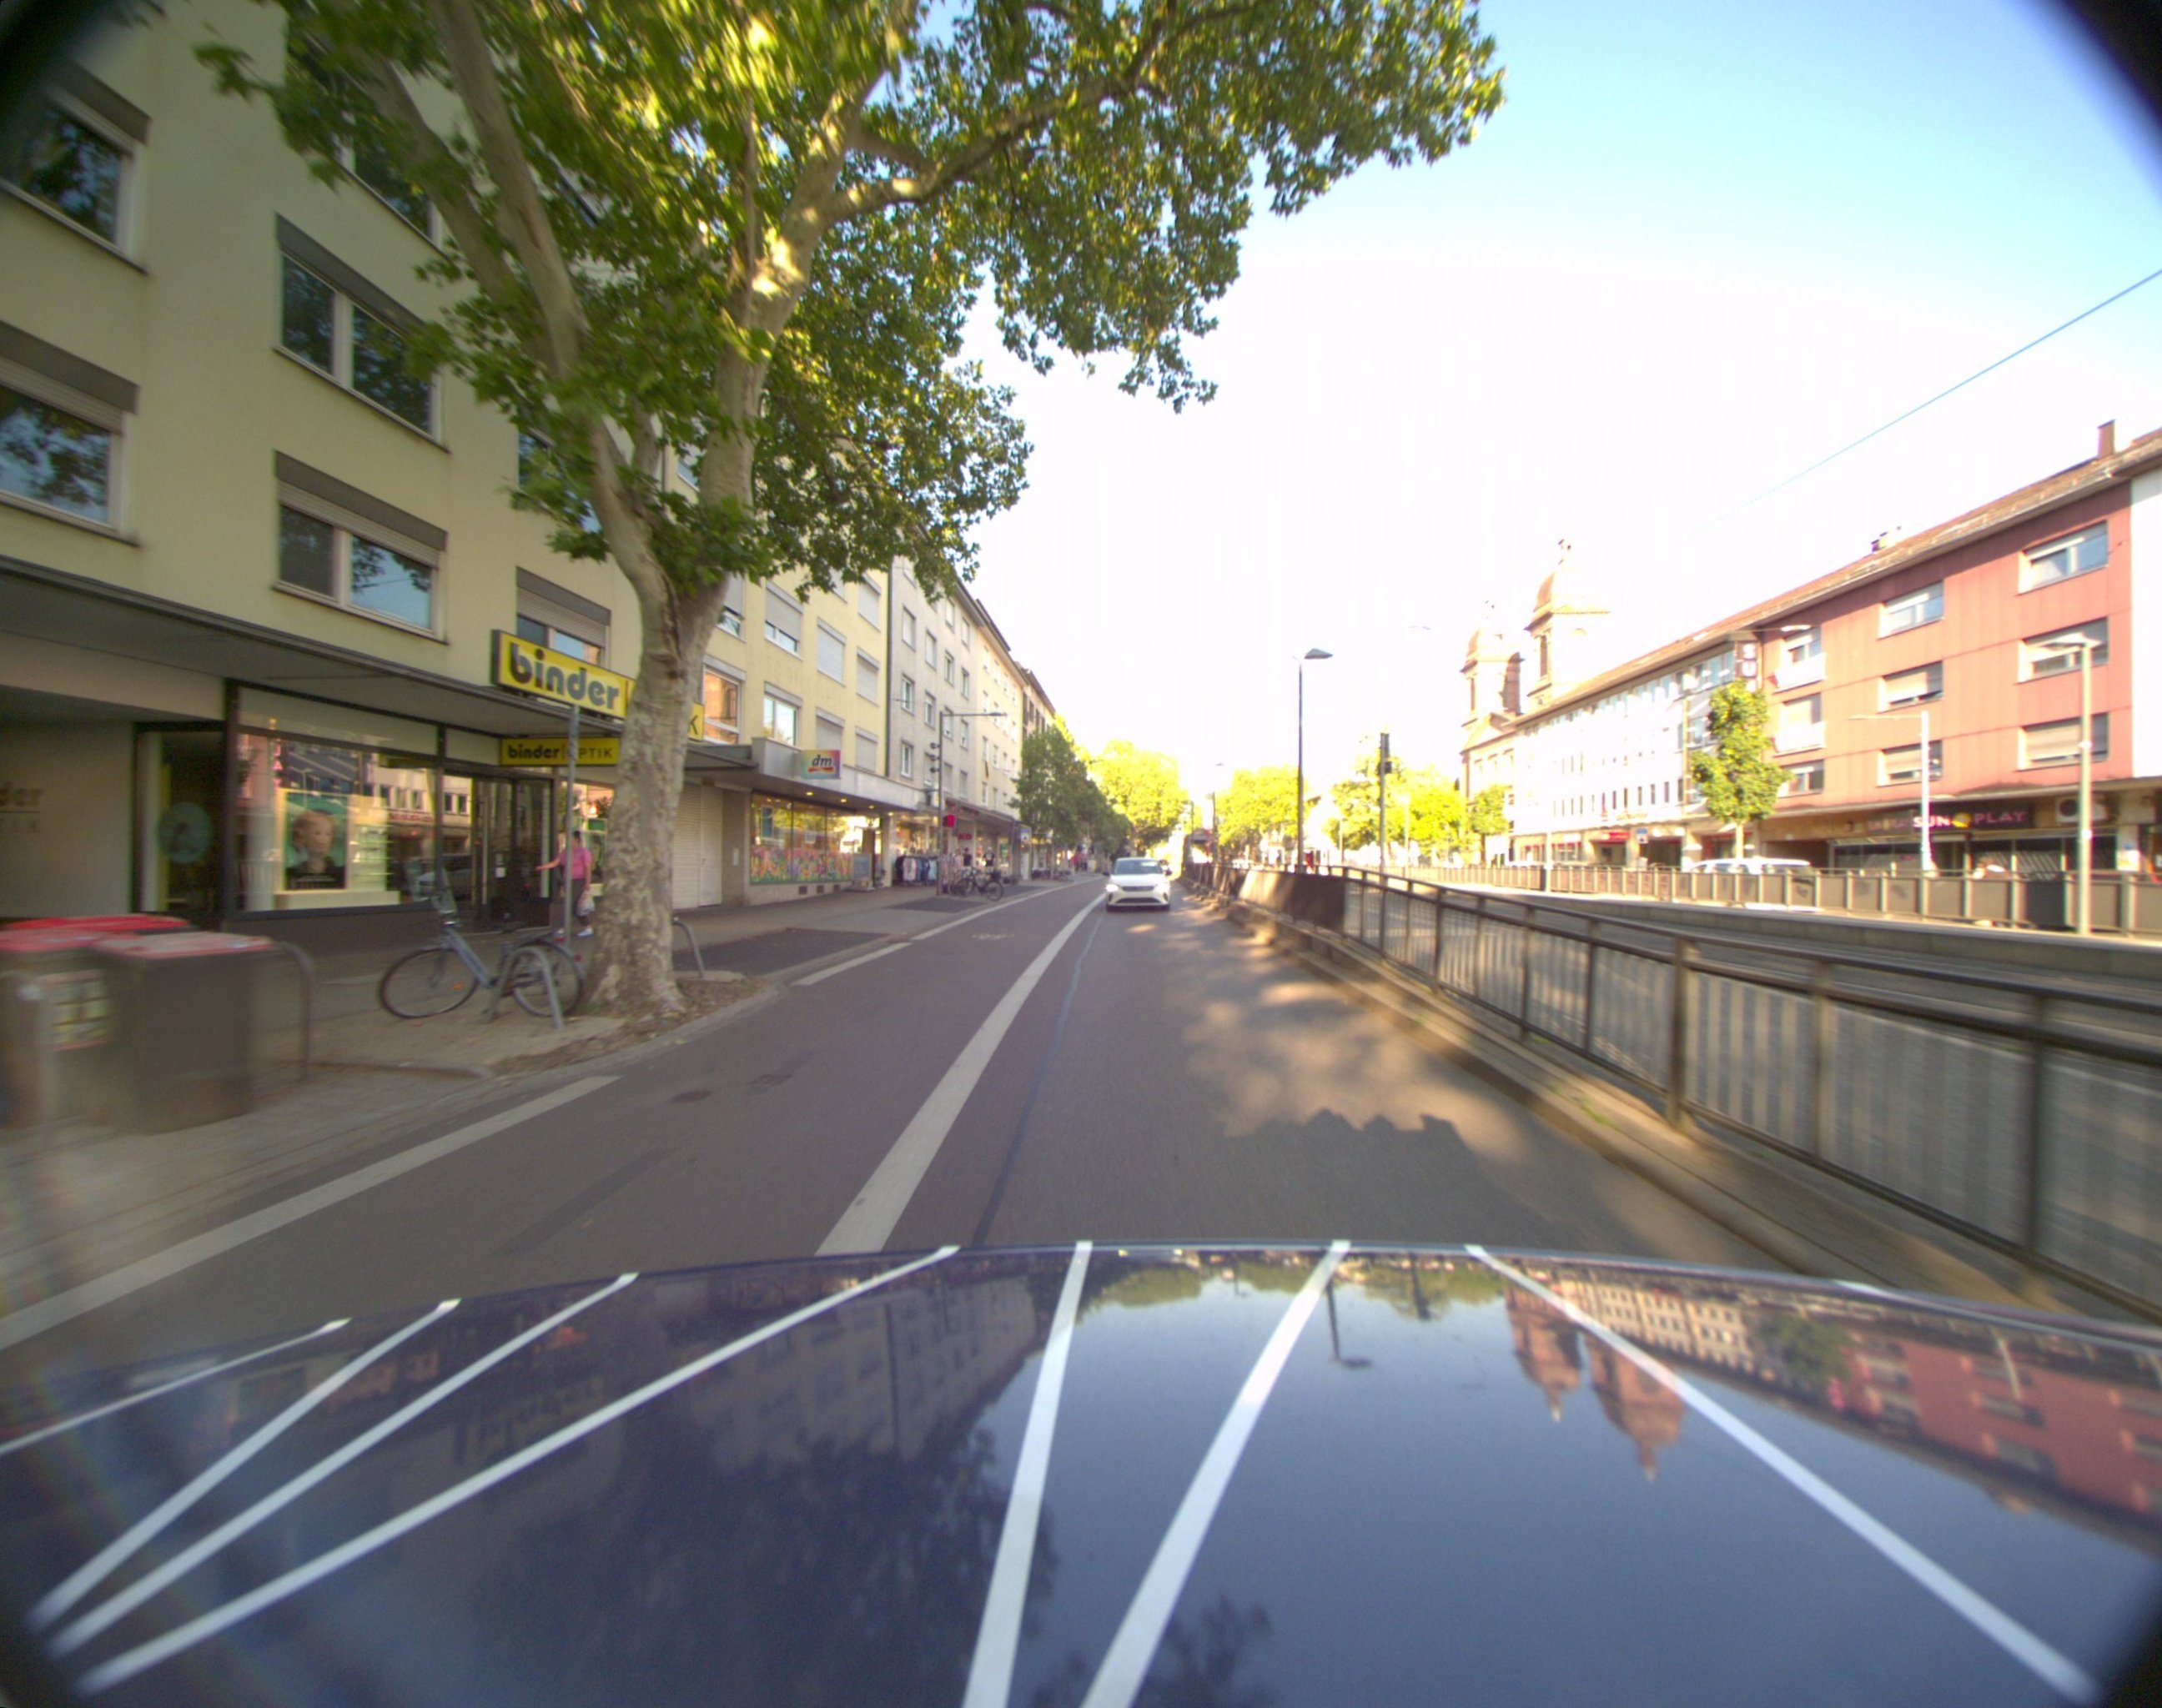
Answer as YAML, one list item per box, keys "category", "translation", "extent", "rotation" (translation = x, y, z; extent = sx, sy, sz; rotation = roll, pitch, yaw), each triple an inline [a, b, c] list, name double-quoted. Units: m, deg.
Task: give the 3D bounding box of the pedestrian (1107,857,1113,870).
- category: "pedestrian"
  translation: [3.780, 1.203, 98.785]
  extent: [0.634, 1.645, 0.651]
  rotation: [-2, 1, 5]

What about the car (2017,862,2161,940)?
- category: "car"
  translation: [23.823, 1.028, 17.811]
  extent: [1.859, 1.482, 3.777]
  rotation: [-2, 1, 43]

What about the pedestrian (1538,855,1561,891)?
- category: "pedestrian"
  translation: [23.759, 0.972, 38.551]
  extent: [0.726, 1.777, 0.766]
  rotation: [-3, 1, -38]

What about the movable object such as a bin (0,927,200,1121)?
- category: "movable object such as a bin"
  translation: [-6.460, 1.068, 5.019]
  extent: [0.722, 1.066, 0.645]
  rotation: [2, 1, 23]

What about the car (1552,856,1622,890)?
- category: "car"
  translation: [25.625, 0.944, 38.410]
  extent: [4.007, 1.521, 1.865]
  rotation: [-2, 1, -40]

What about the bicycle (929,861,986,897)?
- category: "bicycle"
  translation: [-4.318, 0.890, 26.671]
  extent: [1.795, 1.118, 0.663]
  rotation: [5, 1, -22]

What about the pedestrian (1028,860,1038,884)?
- category: "pedestrian"
  translation: [-3.138, 1.211, 50.122]
  extent: [0.490, 1.559, 0.648]
  rotation: [2, 1, 7]

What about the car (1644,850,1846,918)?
- category: "car"
  translation: [18.447, 0.758, 21.465]
  extent: [1.998, 1.707, 4.437]
  rotation: [0, 0, 3]

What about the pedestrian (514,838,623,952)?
- category: "pedestrian"
  translation: [-8.336, 0.624, 12.418]
  extent: [0.969, 1.753, 1.134]
  rotation: [1, 1, 6]

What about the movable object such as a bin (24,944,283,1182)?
- category: "movable object such as a bin"
  translation: [-5.233, 1.130, 4.319]
  extent: [0.723, 1.096, 0.644]
  rotation: [4, 1, 11]

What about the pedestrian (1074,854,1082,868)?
- category: "pedestrian"
  translation: [-0.401, 0.850, 92.738]
  extent: [0.851, 1.645, 0.916]
  rotation: [-2, 1, 5]

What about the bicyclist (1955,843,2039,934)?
- category: "bicyclist"
  translation: [20.806, 0.769, 17.278]
  extent: [0.765, 2.002, 0.911]
  rotation: [1, 0, 4]

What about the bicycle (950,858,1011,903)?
- category: "bicycle"
  translation: [-3.386, 0.878, 25.634]
  extent: [1.788, 1.304, 0.694]
  rotation: [5, 1, 17]

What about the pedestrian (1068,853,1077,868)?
- category: "pedestrian"
  translation: [-0.989, 0.698, 85.302]
  extent: [0.851, 1.645, 0.916]
  rotation: [-2, 1, 5]

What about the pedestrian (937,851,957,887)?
- category: "pedestrian"
  translation: [-5.564, 0.623, 31.623]
  extent: [0.542, 1.493, 0.896]
  rotation: [2, 0, 5]

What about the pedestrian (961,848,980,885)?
- category: "pedestrian"
  translation: [-5.121, 0.561, 35.254]
  extent: [0.569, 1.665, 1.070]
  rotation: [2, 1, 6]

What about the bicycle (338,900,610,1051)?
- category: "bicycle"
  translation: [-5.126, 0.996, 6.493]
  extent: [1.721, 1.111, 0.745]
  rotation: [0, 4, 5]

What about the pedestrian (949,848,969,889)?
- category: "pedestrian"
  translation: [-4.936, 0.566, 30.815]
  extent: [0.547, 1.619, 0.896]
  rotation: [2, 0, 5]

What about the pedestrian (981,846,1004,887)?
- category: "pedestrian"
  translation: [-4.004, 0.582, 34.392]
  extent: [0.774, 1.789, 0.931]
  rotation: [3, 0, 7]

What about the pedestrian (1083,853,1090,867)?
- category: "pedestrian"
  translation: [0.693, 0.689, 91.039]
  extent: [0.693, 1.665, 0.659]
  rotation: [2, 1, 6]

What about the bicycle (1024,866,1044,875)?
- category: "bicycle"
  translation: [-2.928, 1.015, 47.061]
  extent: [0.840, 0.569, 1.758]
  rotation: [1, 0, -17]

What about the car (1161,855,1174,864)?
- category: "car"
  translation: [14.558, 0.882, 128.495]
  extent: [1.718, 1.390, 4.000]
  rotation: [-2, 0, 1]

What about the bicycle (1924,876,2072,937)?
- category: "bicycle"
  translation: [20.808, 1.158, 17.333]
  extent: [0.719, 1.223, 2.279]
  rotation: [1, 0, 4]

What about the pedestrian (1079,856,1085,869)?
- category: "pedestrian"
  translation: [0.123, 1.089, 98.087]
  extent: [0.634, 1.645, 0.651]
  rotation: [-2, 1, 5]

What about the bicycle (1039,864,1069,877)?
- category: "bicycle"
  translation: [-1.665, 1.014, 46.925]
  extent: [1.762, 0.773, 0.702]
  rotation: [1, 0, -17]

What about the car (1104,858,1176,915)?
- category: "car"
  translation: [1.679, 0.847, 21.441]
  extent: [1.826, 1.433, 3.829]
  rotation: [-1, 0, 5]

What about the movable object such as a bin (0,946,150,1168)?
- category: "movable object such as a bin"
  translation: [-6.065, 1.117, 4.332]
  extent: [0.724, 1.066, 0.644]
  rotation: [3, 1, 3]

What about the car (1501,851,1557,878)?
- category: "car"
  translation: [26.763, 0.602, 45.374]
  extent: [4.008, 1.477, 1.739]
  rotation: [-2, 1, -42]
